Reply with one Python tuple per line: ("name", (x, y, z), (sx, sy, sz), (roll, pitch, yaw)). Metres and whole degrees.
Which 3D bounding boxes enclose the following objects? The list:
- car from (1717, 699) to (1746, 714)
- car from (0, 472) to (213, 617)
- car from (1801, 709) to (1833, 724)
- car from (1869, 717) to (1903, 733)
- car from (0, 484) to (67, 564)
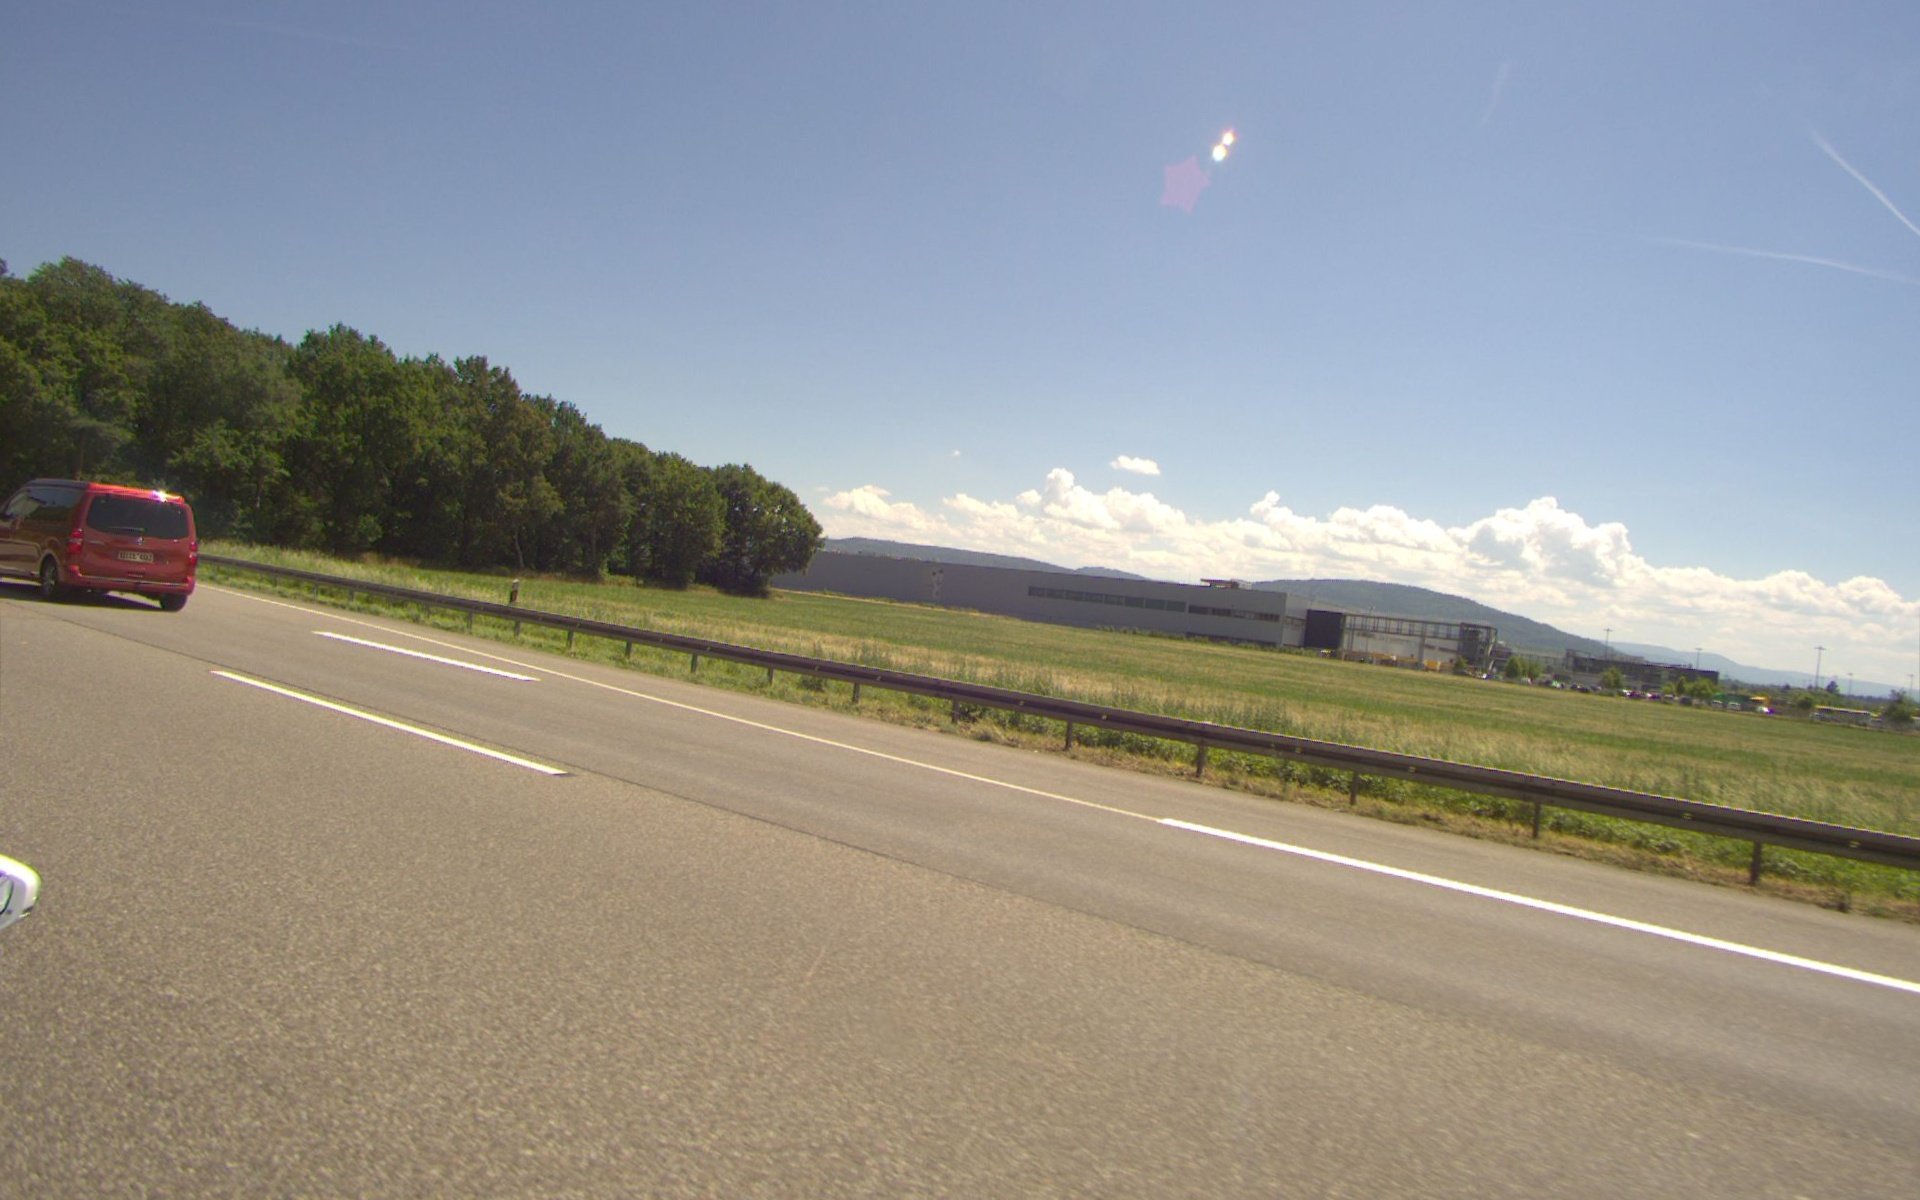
("car", (141.674, 19.571, 184.741), (3.939, 2.038, 1.869), (6, -1, 37))
("car", (-15.777, -1.057, 17.918), (5.429, 2.026, 1.860), (6, -2, 31))
("car", (150.871, 20.523, 177.179), (3.939, 2.038, 1.869), (6, -1, 37))
("car", (158.041, 21.283, 171.712), (3.939, 2.038, 1.869), (6, -1, 37))
("car", (-28.017, -2.327, 29.169), (3.934, 2.038, 1.996), (7, -1, 32))
